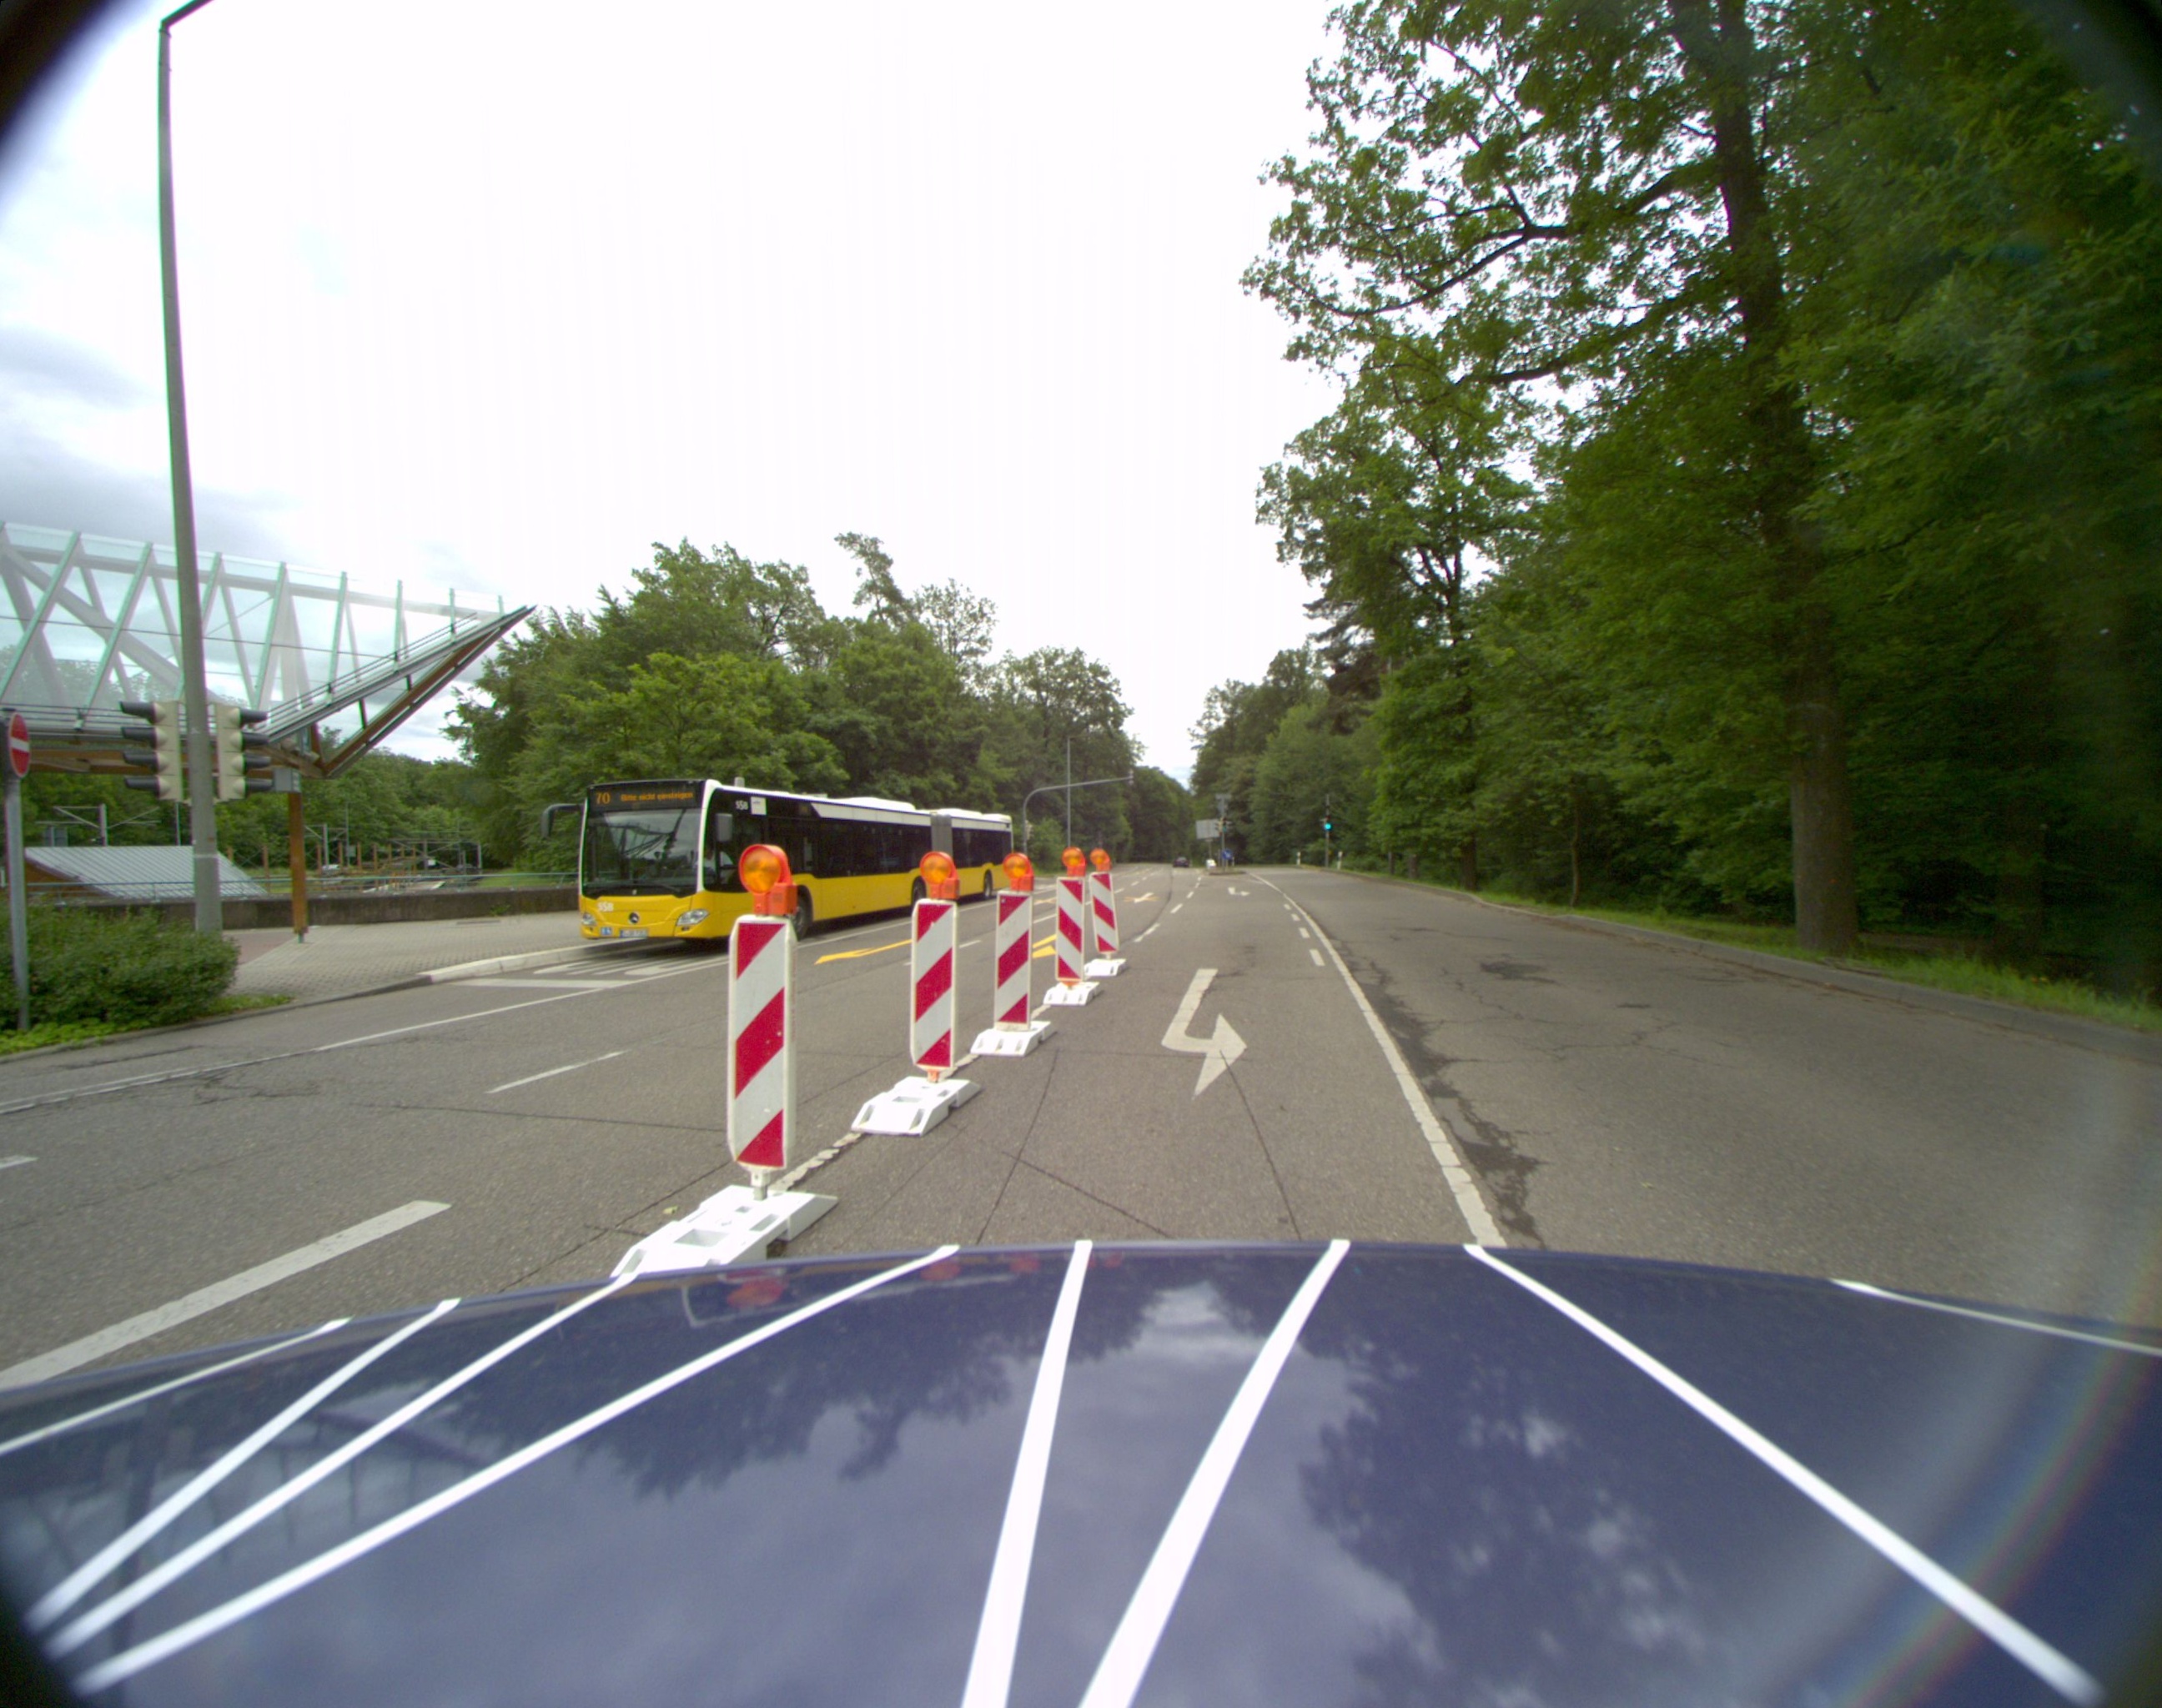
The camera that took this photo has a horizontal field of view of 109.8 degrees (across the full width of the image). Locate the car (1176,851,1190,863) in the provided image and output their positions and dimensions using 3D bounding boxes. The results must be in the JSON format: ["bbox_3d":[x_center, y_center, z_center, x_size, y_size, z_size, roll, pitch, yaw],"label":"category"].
[{"bbox_3d":[12.894,0.366,96.274,1.750,1.323,4.001,-2,1,7],"label":"car"}]

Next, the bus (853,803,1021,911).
[{"bbox_3d":[-4.580,0.063,26.258,2.807,3.141,7.763,-1,1,12],"label":"bus"}]

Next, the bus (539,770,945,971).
[{"bbox_3d":[-6.404,0.227,17.306,2.807,3.141,10.526,-1,1,11],"label":"bus"}]
